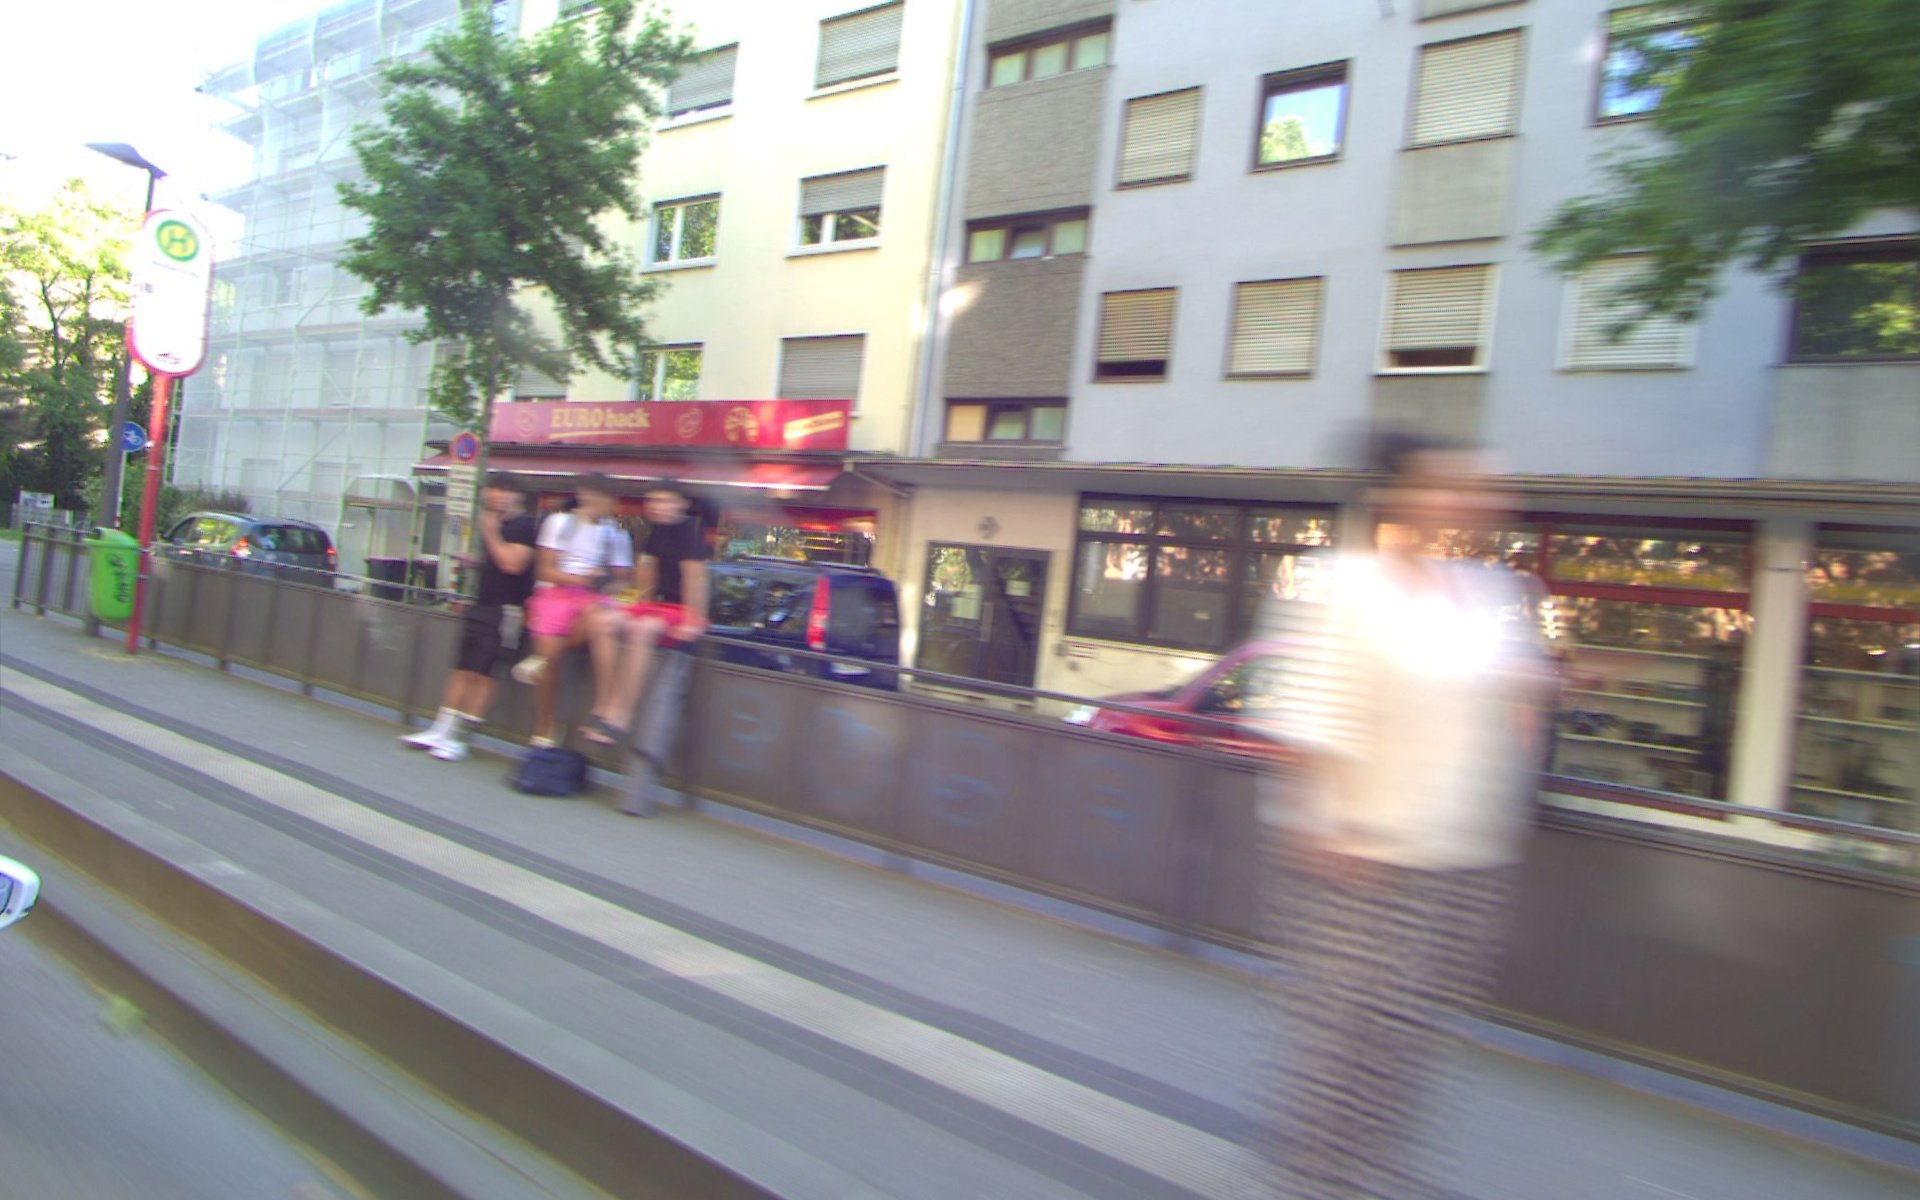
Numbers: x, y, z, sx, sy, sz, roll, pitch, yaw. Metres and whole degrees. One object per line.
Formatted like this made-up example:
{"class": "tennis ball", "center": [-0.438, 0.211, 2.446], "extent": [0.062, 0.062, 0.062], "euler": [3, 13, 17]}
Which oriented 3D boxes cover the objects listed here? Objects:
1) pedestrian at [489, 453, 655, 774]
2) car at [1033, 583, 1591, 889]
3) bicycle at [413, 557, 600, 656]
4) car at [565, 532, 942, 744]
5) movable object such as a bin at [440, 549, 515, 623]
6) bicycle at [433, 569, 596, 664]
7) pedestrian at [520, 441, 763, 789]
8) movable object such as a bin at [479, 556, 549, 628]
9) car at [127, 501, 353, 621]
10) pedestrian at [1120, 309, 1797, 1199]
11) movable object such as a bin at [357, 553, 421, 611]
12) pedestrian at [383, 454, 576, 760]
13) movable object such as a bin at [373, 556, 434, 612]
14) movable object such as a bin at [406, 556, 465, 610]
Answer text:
{"class": "pedestrian", "center": [-2.318, 0.081, 5.991], "extent": [0.491, 1.790, 0.695], "euler": [8, -1, -43]}
{"class": "car", "center": [2.923, 0.961, 8.731], "extent": [4.103, 1.778, 1.690], "euler": [6, 2, 30]}
{"class": "bicycle", "center": [-6.523, 0.127, 14.592], "extent": [1.012, 1.225, 2.206], "euler": [6, 0, 32]}
{"class": "car", "center": [-2.566, 0.386, 12.206], "extent": [4.126, 1.919, 1.995], "euler": [7, 0, 34]}
{"class": "movable object such as a bin", "center": [-10.005, -0.282, 20.870], "extent": [0.811, 1.414, 1.000], "euler": [7, 1, 29]}
{"class": "bicycle", "center": [-6.954, 0.256, 15.749], "extent": [2.169, 1.225, 0.685], "euler": [6, 1, 3]}
{"class": "pedestrian", "center": [-1.720, 0.089, 5.529], "extent": [0.680, 1.720, 0.847], "euler": [7, -1, 25]}
{"class": "movable object such as a bin", "center": [-9.149, -0.157, 20.649], "extent": [0.811, 1.367, 0.924], "euler": [7, 1, 29]}
{"class": "car", "center": [-12.997, -0.725, 18.076], "extent": [4.369, 1.642, 1.763], "euler": [7, 1, 33]}
{"class": "pedestrian", "center": [0.892, 0.445, 1.993], "extent": [0.821, 1.732, 0.640], "euler": [7, -1, -3]}
{"class": "movable object such as a bin", "center": [-12.201, -0.377, 21.500], "extent": [0.685, 1.125, 0.882], "euler": [7, 1, 29]}
{"class": "pedestrian", "center": [-2.987, 0.052, 6.297], "extent": [0.570, 1.775, 0.690], "euler": [7, -1, 25]}
{"class": "movable object such as a bin", "center": [-12.355, -0.343, 22.345], "extent": [0.685, 1.125, 0.882], "euler": [7, 1, 29]}
{"class": "movable object such as a bin", "center": [-11.959, -0.378, 22.968], "extent": [0.685, 1.125, 0.882], "euler": [7, 1, 29]}
